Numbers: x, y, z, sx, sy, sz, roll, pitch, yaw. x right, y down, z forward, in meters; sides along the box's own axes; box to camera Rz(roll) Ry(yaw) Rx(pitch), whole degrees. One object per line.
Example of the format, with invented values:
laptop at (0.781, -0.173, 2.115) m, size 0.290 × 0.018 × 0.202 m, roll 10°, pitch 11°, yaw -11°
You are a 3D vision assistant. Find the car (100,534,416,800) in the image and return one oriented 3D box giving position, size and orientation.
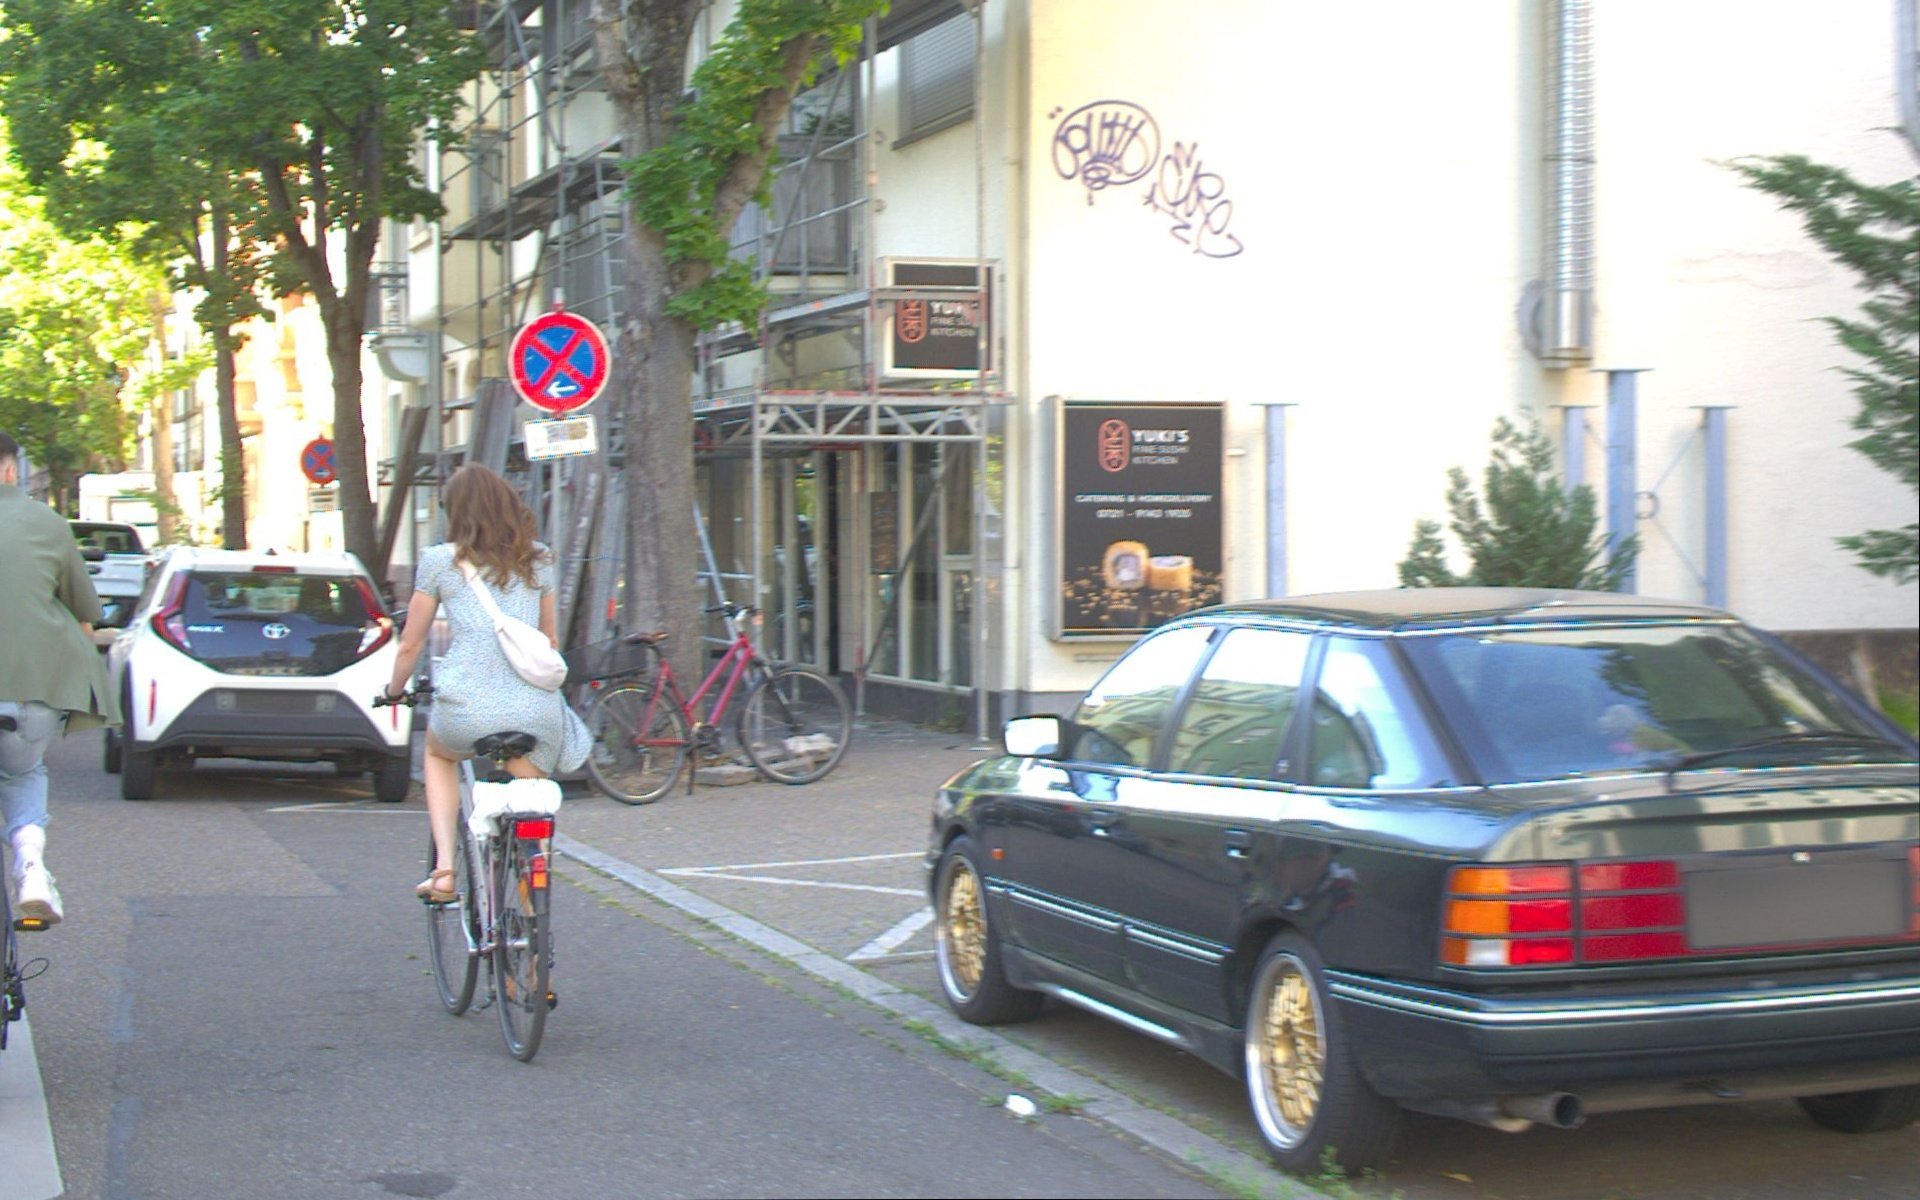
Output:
car at (-4.504, 0.369, 21.729) m, size 1.674 × 1.540 × 3.404 m, roll 1°, pitch 1°, yaw -16°

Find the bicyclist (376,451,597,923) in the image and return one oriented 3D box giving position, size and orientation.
bicyclist at (-1.462, 0.273, 10.518) m, size 0.623 × 1.376 × 0.868 m, roll -1°, pitch -3°, yaw -10°

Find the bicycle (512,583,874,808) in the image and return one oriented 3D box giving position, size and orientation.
bicycle at (-1.546, 0.533, 20.128) m, size 1.980 × 1.161 × 0.726 m, roll -3°, pitch 3°, yaw -34°

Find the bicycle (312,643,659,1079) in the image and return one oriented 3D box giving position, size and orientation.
bicycle at (-1.530, 0.752, 10.720) m, size 0.839 × 1.145 × 2.233 m, roll 2°, pitch 0°, yaw -13°

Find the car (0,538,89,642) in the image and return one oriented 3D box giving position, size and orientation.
car at (-15.779, -0.200, 58.289) m, size 1.686 × 1.678 × 4.001 m, roll -1°, pitch 1°, yaw -18°

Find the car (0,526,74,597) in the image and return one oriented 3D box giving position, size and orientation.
car at (-21.621, -0.910, 79.980) m, size 1.686 × 1.599 × 4.001 m, roll -1°, pitch 1°, yaw -18°

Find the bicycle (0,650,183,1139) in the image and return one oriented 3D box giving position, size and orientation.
bicycle at (-2.766, 0.756, 9.659) m, size 0.839 × 1.145 × 2.233 m, roll -1°, pitch 1°, yaw -20°

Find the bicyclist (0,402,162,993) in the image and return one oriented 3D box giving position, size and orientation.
bicyclist at (-2.703, 0.270, 9.445) m, size 0.881 × 1.556 × 0.868 m, roll 0°, pitch -2°, yaw -21°

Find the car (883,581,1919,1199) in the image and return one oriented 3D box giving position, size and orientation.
car at (1.234, 0.671, 9.666) m, size 1.708 × 1.383 × 4.571 m, roll 1°, pitch 1°, yaw -17°
